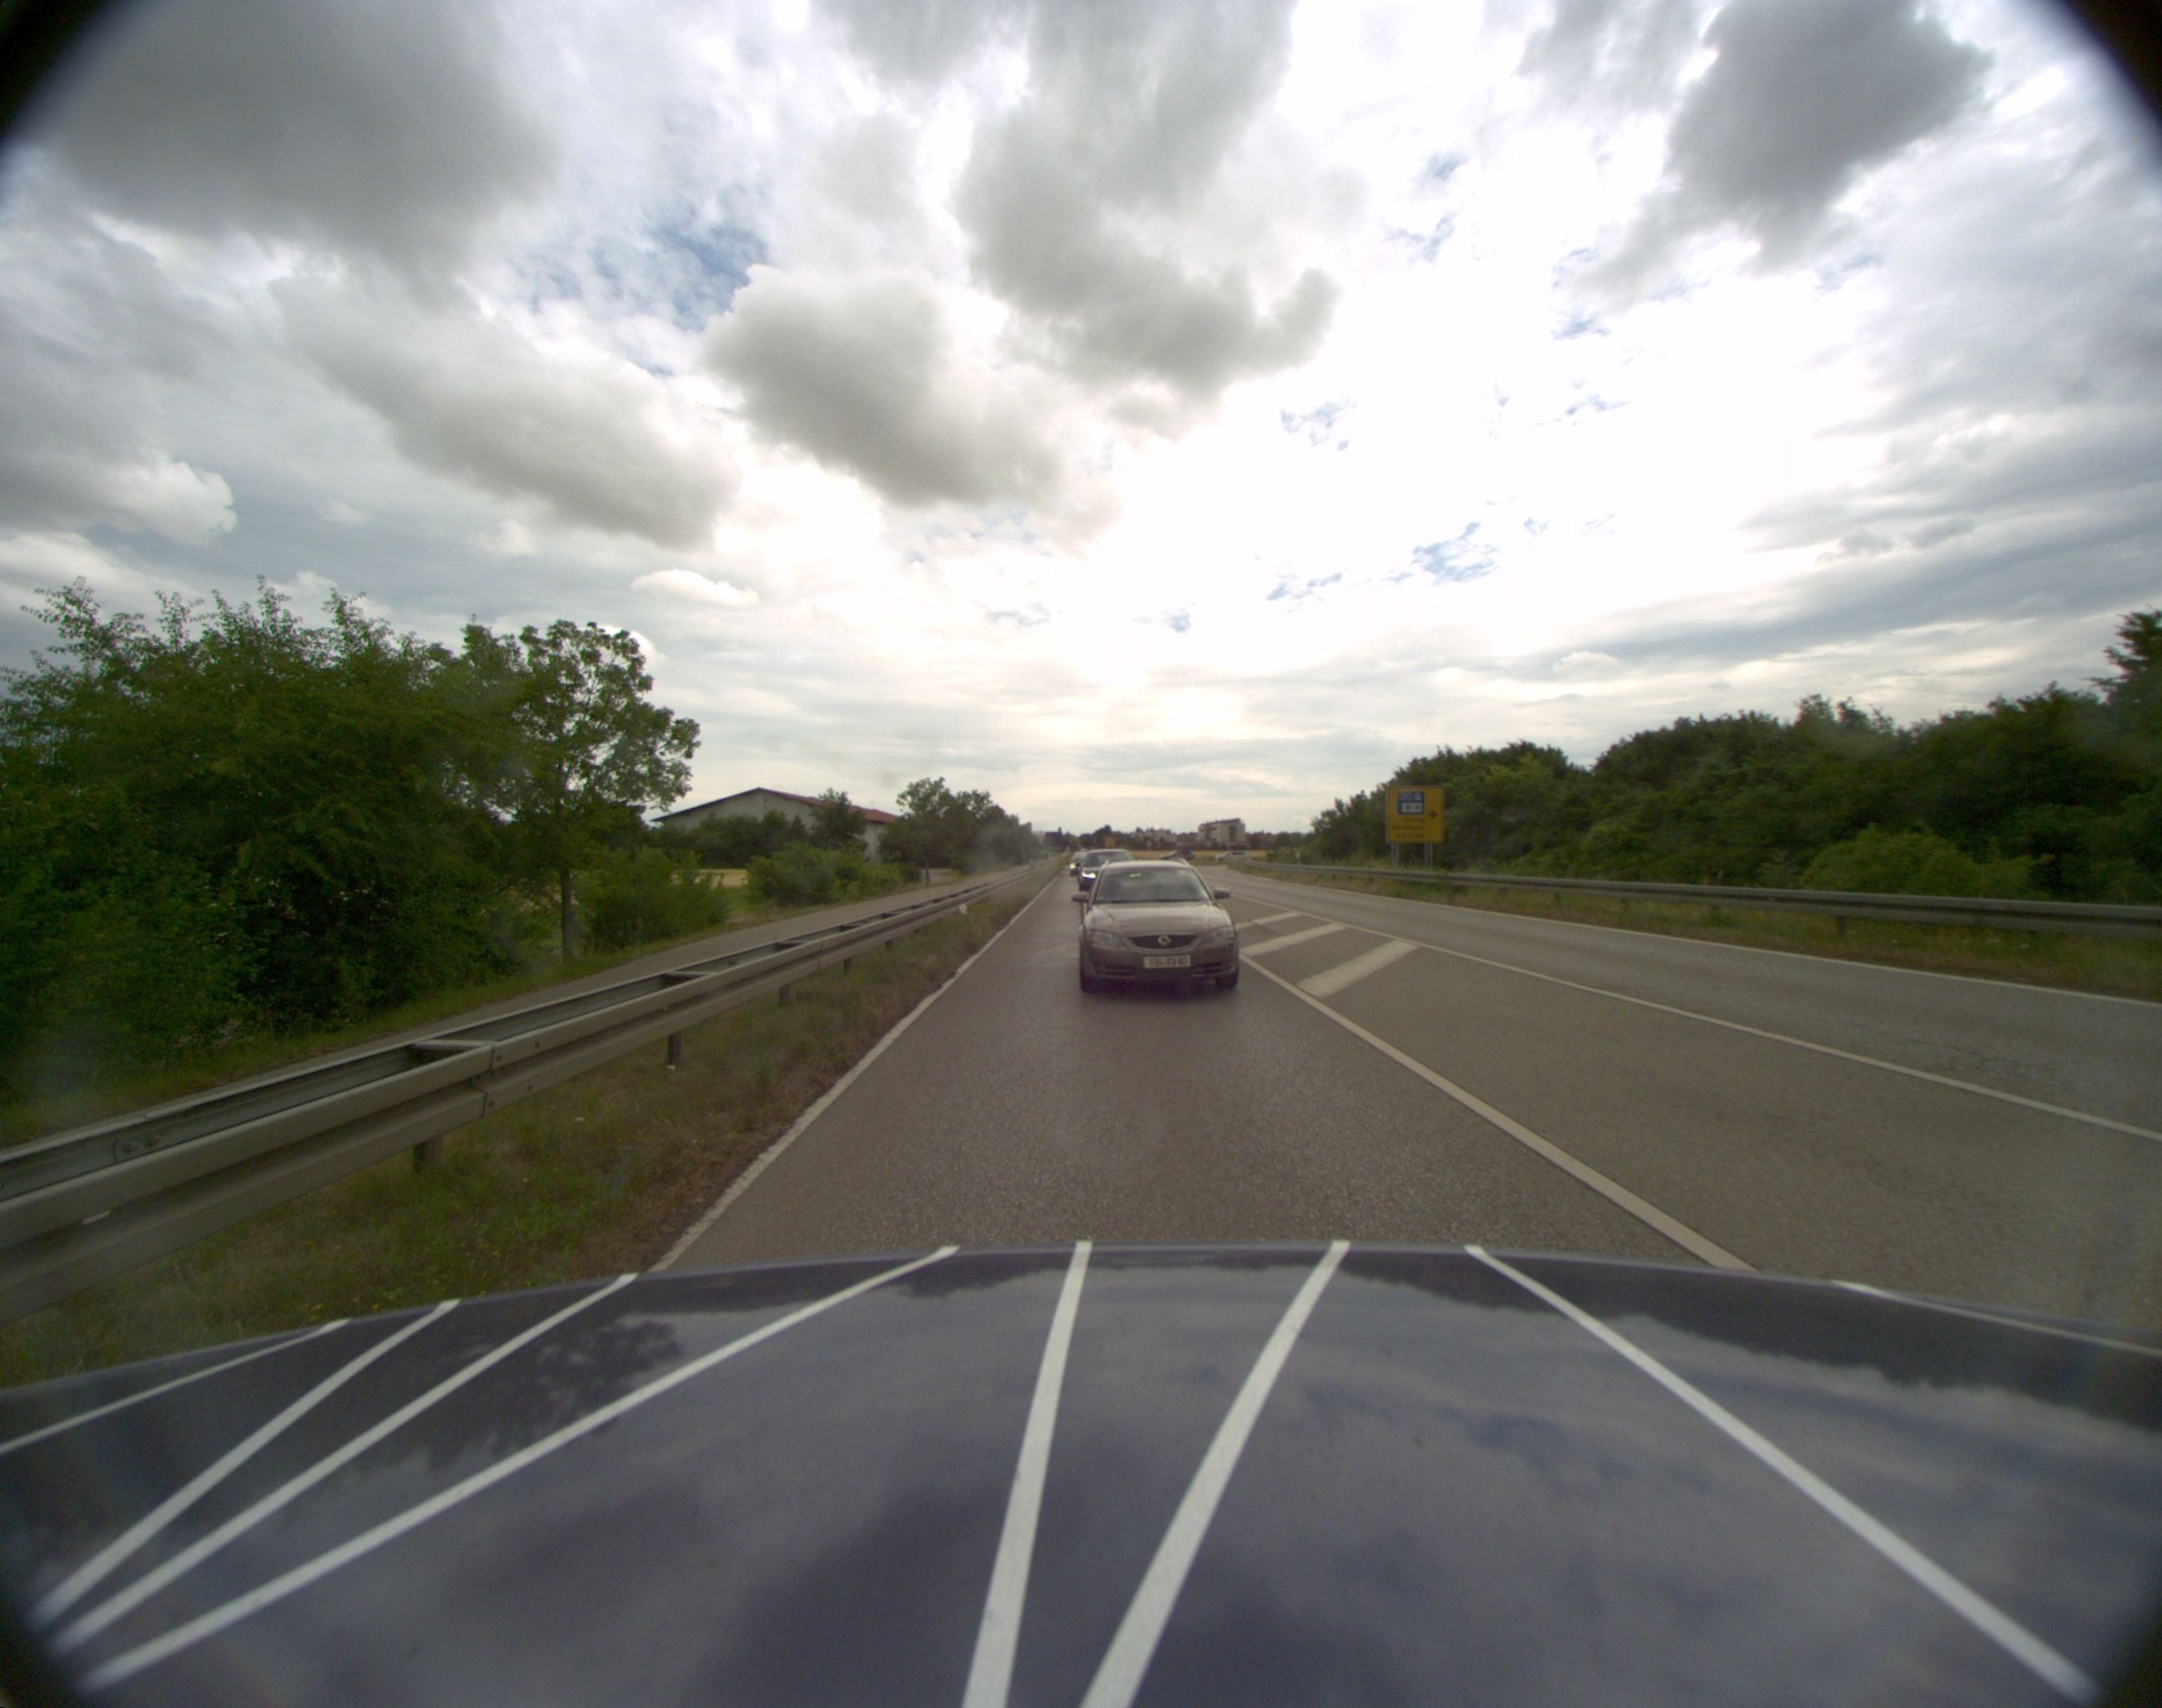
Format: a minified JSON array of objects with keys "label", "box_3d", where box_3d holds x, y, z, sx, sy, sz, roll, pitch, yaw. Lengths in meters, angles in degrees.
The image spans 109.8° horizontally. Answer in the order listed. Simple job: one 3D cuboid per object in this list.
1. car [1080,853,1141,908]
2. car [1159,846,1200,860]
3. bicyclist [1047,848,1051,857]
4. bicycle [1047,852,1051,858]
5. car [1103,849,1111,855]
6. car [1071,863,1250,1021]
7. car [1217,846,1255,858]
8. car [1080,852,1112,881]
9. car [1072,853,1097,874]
[{"label":"car","box_3d":[0.850,0.760,24.009,1.730,1.534,4.203,-2,0,0]},{"label":"car","box_3d":[12.586,-0.129,97.215,4.816,1.680,1.999,-1,1,-3]},{"label":"bicyclist","box_3d":[-5.517,-0.289,130.592,0.640,1.573,0.969,-1,1,0]},{"label":"bicycle","box_3d":[-5.511,0.233,130.621,0.640,0.972,2.072,-1,1,0]},{"label":"car","box_3d":[6.117,-0.491,180.265,1.804,1.442,4.445,-1,1,-1]},{"label":"car","box_3d":[0.777,0.890,9.526,1.730,1.436,4.203,-1,0,0]},{"label":"car","box_3d":[19.787,-0.245,97.195,4.672,1.490,2.001,-1,1,10]},{"label":"car","box_3d":[0.810,0.673,43.724,1.730,1.478,4.203,-2,0,0]},{"label":"car","box_3d":[0.249,0.657,56.961,1.730,1.436,4.203,-2,0,0]}]
